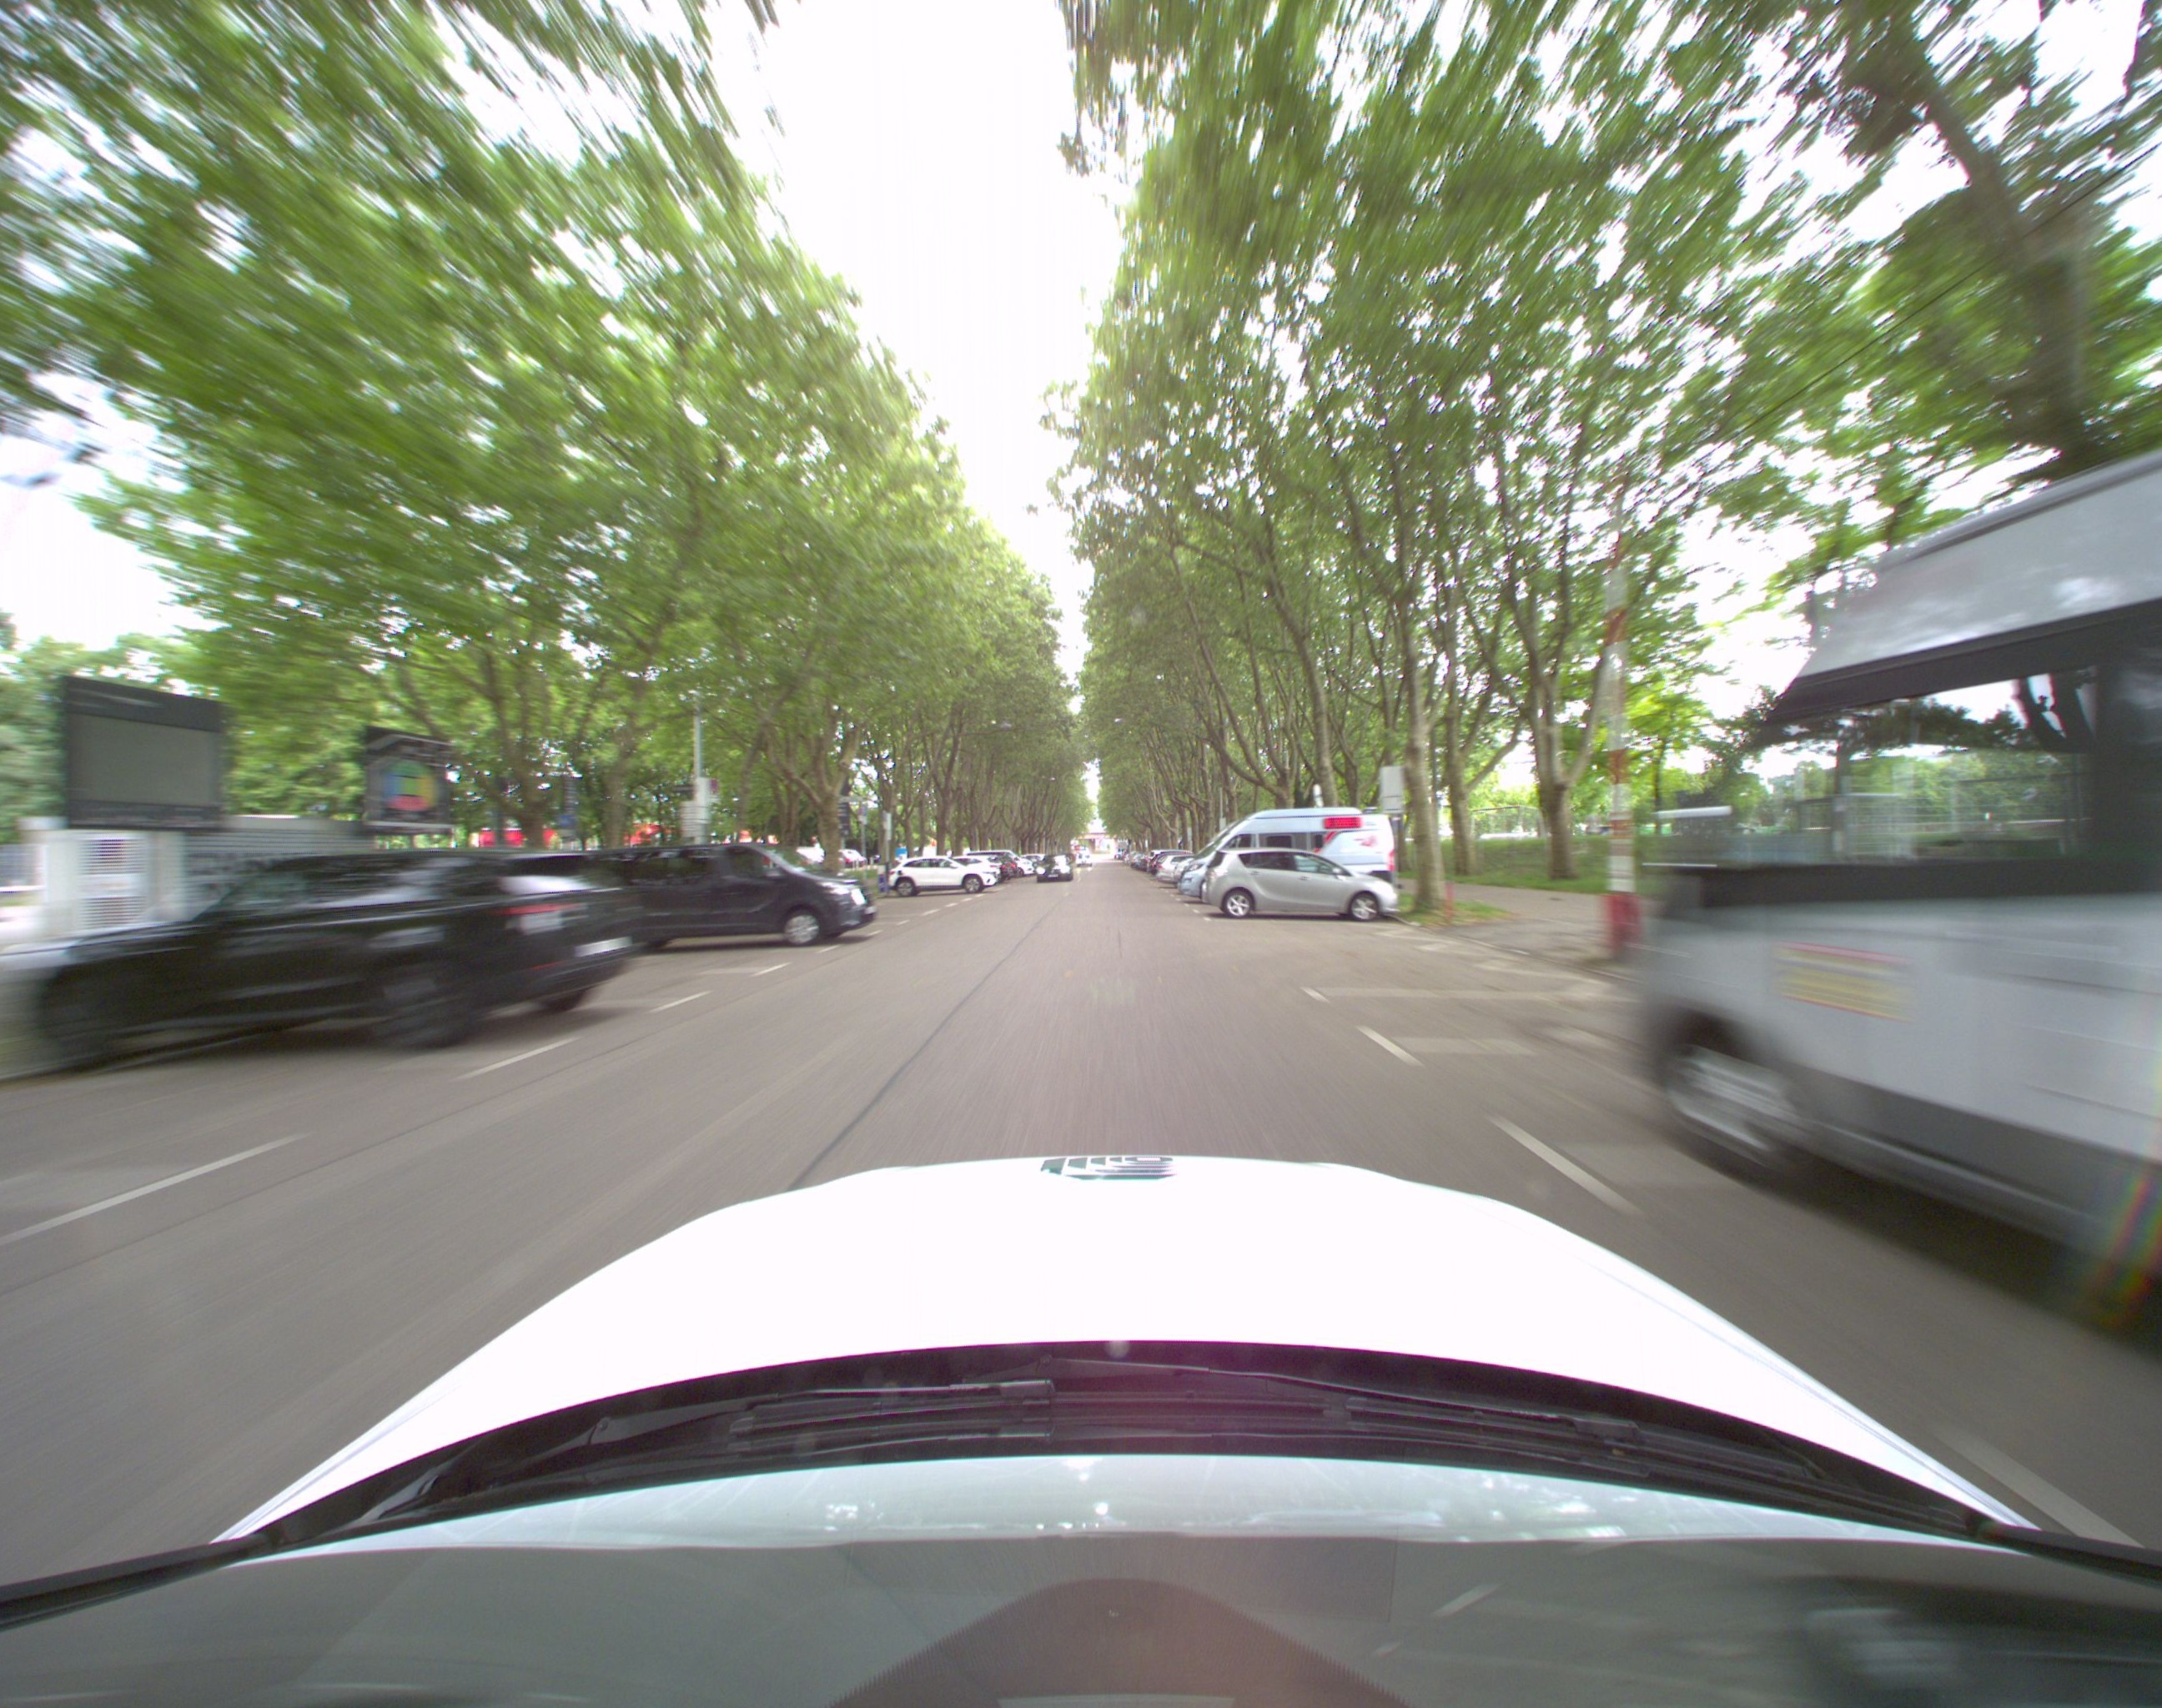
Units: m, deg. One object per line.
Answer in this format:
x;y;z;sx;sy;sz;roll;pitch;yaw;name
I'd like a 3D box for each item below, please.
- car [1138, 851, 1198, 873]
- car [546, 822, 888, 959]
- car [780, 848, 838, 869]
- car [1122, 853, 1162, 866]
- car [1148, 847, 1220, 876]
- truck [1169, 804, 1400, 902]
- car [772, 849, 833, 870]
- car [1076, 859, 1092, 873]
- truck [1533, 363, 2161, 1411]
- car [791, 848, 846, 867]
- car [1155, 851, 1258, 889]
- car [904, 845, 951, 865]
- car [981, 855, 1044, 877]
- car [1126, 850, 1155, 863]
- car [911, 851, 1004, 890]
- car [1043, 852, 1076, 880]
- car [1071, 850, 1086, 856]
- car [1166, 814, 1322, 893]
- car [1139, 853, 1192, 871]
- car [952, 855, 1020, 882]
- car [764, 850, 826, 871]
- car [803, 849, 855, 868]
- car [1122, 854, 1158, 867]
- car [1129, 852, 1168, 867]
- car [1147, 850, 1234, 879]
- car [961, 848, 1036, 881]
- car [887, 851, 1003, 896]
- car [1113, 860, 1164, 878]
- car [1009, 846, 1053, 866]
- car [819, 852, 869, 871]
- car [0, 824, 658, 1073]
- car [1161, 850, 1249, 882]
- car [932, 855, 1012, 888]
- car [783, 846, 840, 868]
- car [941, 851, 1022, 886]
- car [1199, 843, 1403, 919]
6.021;0.547;56.564;3.974;1.486;1.694;0;0;-1;car
-6.627;0.626;15.298;5.418;2.127;1.940;-3;1;0;car
-31.112;0.544;93.254;5.980;2.318;2.000;0;0;1;car
6.645;0.604;89.146;4.286;1.470;1.622;0;0;-2;car
6.445;0.471;51.246;4.371;1.755;1.800;0;0;-1;car
5.805;-0.021;23.817;6.271;2.715;2.098;0;0;1;truck
-30.951;0.603;90.600;5.980;2.252;2.000;0;0;1;car
0.318;1.316;93.815;1.683;1.471;3.839;-3;0;0;car
4.378;0.090;1.323;2.456;2.938;7.520;0;0;-7;truck
-31.587;0.450;98.060;5.980;2.240;2.000;0;0;1;car
5.175;0.661;34.067;4.102;1.429;1.704;2;0;3;car
-20.228;0.069;107.612;5.764;2.597;2.001;0;0;2;car
-5.185;0.895;61.695;4.426;1.452;1.777;-3;0;5;car
7.610;0.277;104.111;3.636;1.667;1.518;0;0;-2;car
-6.240;0.822;41.531;4.327;1.667;1.999;-4;0;-1;car
-1.167;0.611;44.453;1.650;1.364;4.109;-4;0;-2;car
-0.724;-0.270;213.379;3.796;1.515;1.688;-1;0;4;car
5.704;-0.006;29.005;5.208;2.689;1.958;0;0;2;car
6.352;0.593;61.670;3.815;1.389;1.694;0;0;-1;car
-5.927;0.898;51.152;3.975;1.413;1.682;-4;0;-1;car
-30.968;0.669;88.164;5.980;2.252;2.000;0;0;1;car
-31.894;0.560;103.127;5.980;2.330;2.000;0;0;1;car
7.171;0.747;99.089;4.156;1.596;1.853;0;0;-2;car
6.538;0.504;79.091;3.762;1.470;1.667;0;0;1;car
5.902;0.562;44.296;4.488;1.526;1.702;0;0;-1;car
-5.666;0.696;56.570;4.877;2.019;1.920;-3;0;0;car
-5.568;0.790;33.701;4.366;1.597;1.999;-3;0;-1;car
4.874;1.261;69.056;4.198;1.451;1.610;0;0;-1;car
-4.542;0.174;73.830;3.816;1.627;1.952;-3;0;-2;car
-31.351;0.989;107.837;5.980;2.527;2.000;0;0;1;car
-6.951;0.803;7.868;4.641;1.820;1.805;-4;0;-2;car
6.015;0.565;39.715;4.032;1.526;1.814;0;0;-1;car
-5.851;0.911;44.088;3.975;1.475;1.842;-4;0;-1;car
-31.709;0.308;95.885;5.980;2.527;2.000;0;0;1;car
-5.714;0.809;46.990;4.327;1.667;1.999;-4;0;-1;car
4.979;0.586;18.932;4.320;1.618;1.806;1;0;4;car
